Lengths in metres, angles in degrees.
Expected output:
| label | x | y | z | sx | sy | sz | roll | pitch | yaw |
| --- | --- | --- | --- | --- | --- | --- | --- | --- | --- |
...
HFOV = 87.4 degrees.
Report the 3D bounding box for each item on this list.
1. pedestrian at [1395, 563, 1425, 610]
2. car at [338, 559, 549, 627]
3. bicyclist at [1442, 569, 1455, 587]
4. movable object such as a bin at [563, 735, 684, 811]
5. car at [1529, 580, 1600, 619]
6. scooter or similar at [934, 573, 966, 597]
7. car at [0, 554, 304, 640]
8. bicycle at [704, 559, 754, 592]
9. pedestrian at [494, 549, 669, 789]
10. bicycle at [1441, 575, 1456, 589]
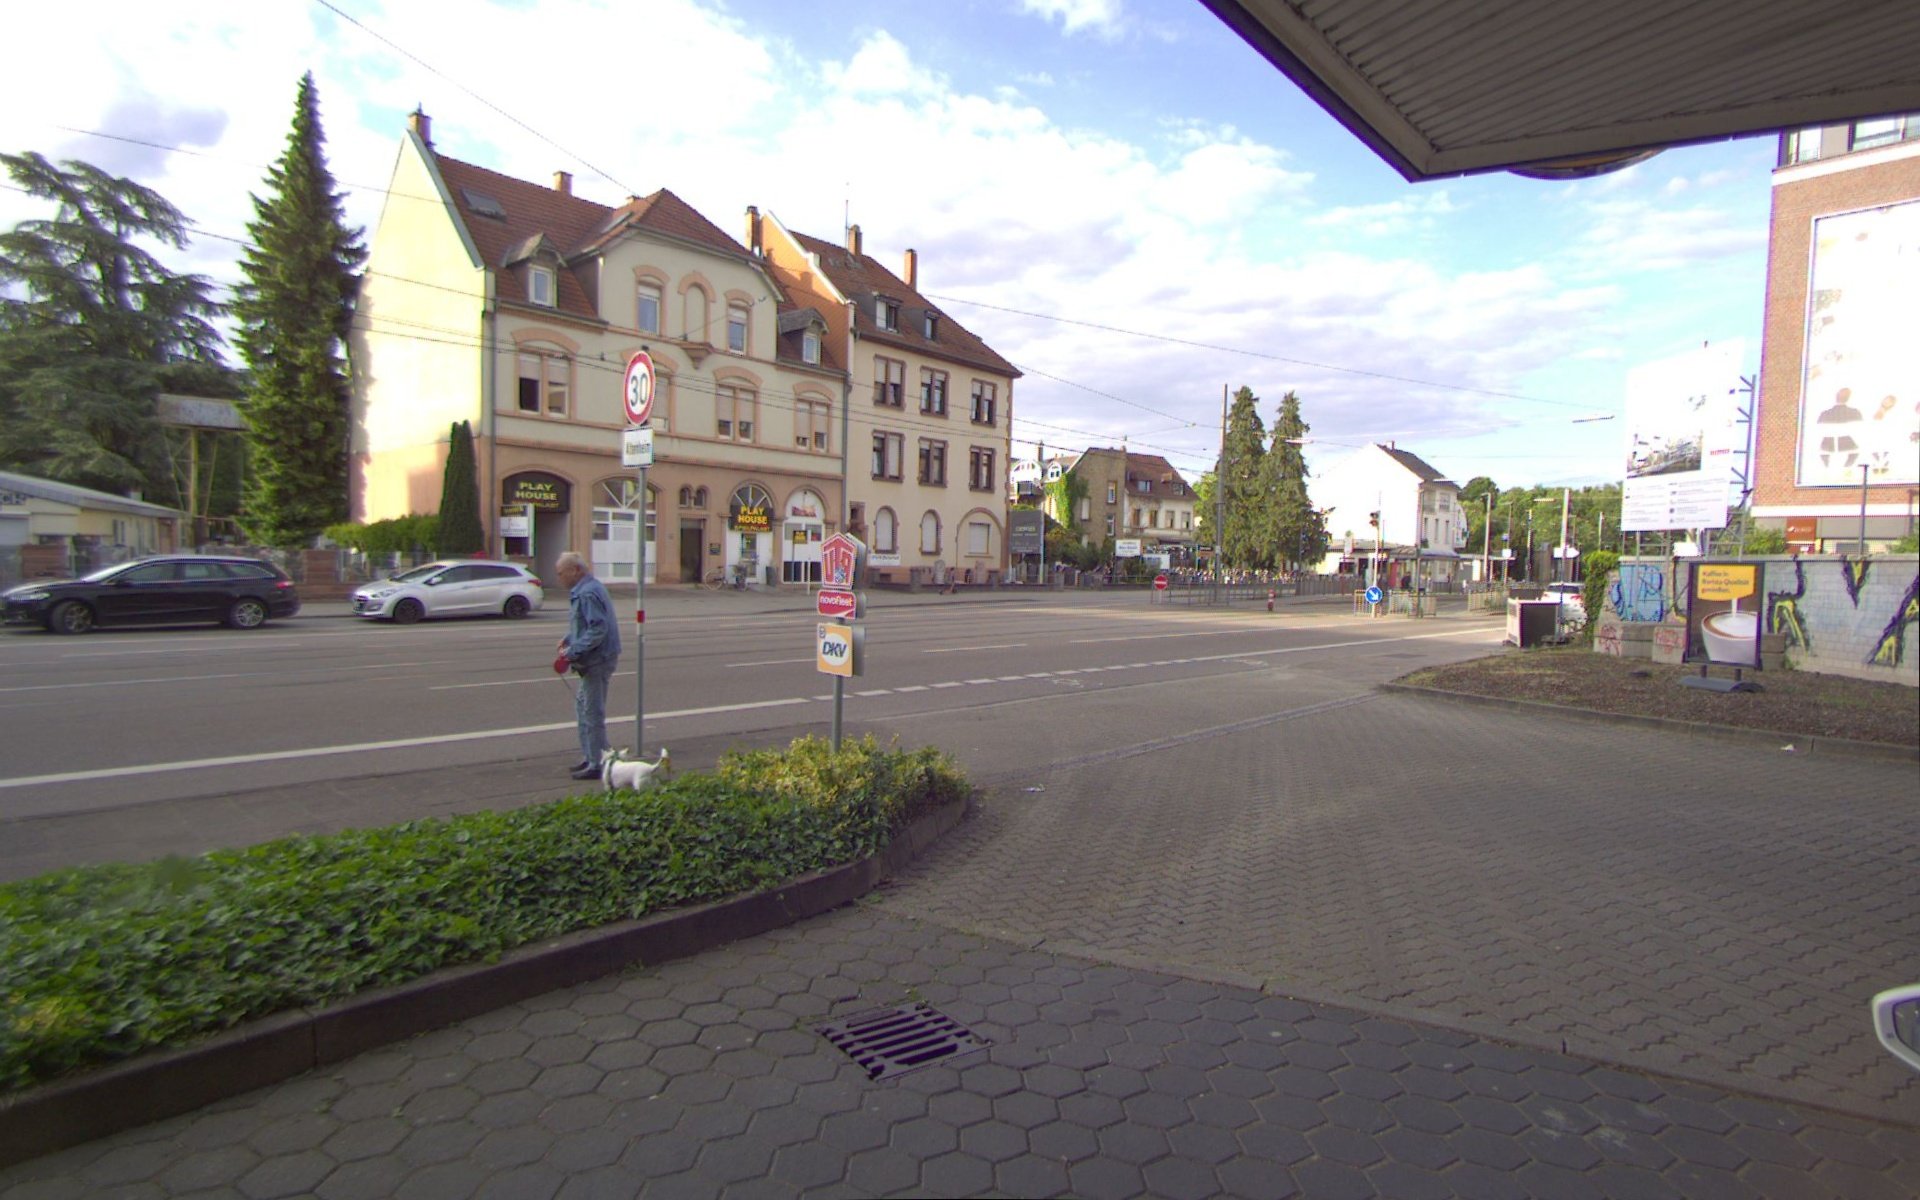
| label | x | y | z | sx | sy | sz | roll | pitch | yaw |
| --- | --- | --- | --- | --- | --- | --- | --- | --- | --- |
| pedestrian | 20.036 | -0.580 | 44.740 | 0.839 | 2.040 | 0.804 | 2 | 0 | -24 |
| car | -12.922 | -0.229 | 25.364 | 1.699 | 1.503 | 4.434 | 4 | 4 | 40 |
| bicyclist | 42.568 | -1.898 | 87.494 | 0.671 | 1.555 | 1.079 | 2 | 2 | 42 |
| movable object such as a bin | -2.278 | 1.170 | 6.841 | 0.667 | 0.426 | 0.481 | 1 | 1 | -3 |
| car | 26.327 | -0.068 | 43.700 | 1.735 | 1.497 | 3.975 | 6 | 5 | 44 |
| scooter or similar | -0.439 | -0.658 | 45.120 | 0.461 | 1.041 | 1.655 | 4 | 3 | 40 |
| car | -16.602 | -0.134 | 20.742 | 1.983 | 1.520 | 4.755 | 4 | 4 | 39 |
| bicycle | -9.110 | -0.949 | 39.618 | 0.665 | 1.229 | 1.862 | 4 | 2 | 41 |
| pedestrian | -2.827 | 0.489 | 7.625 | 0.952 | 1.690 | 1.003 | 1 | 1 | -3 |
| bicycle | 42.554 | -1.574 | 87.508 | 0.671 | 1.239 | 1.908 | 2 | 2 | 42 |
